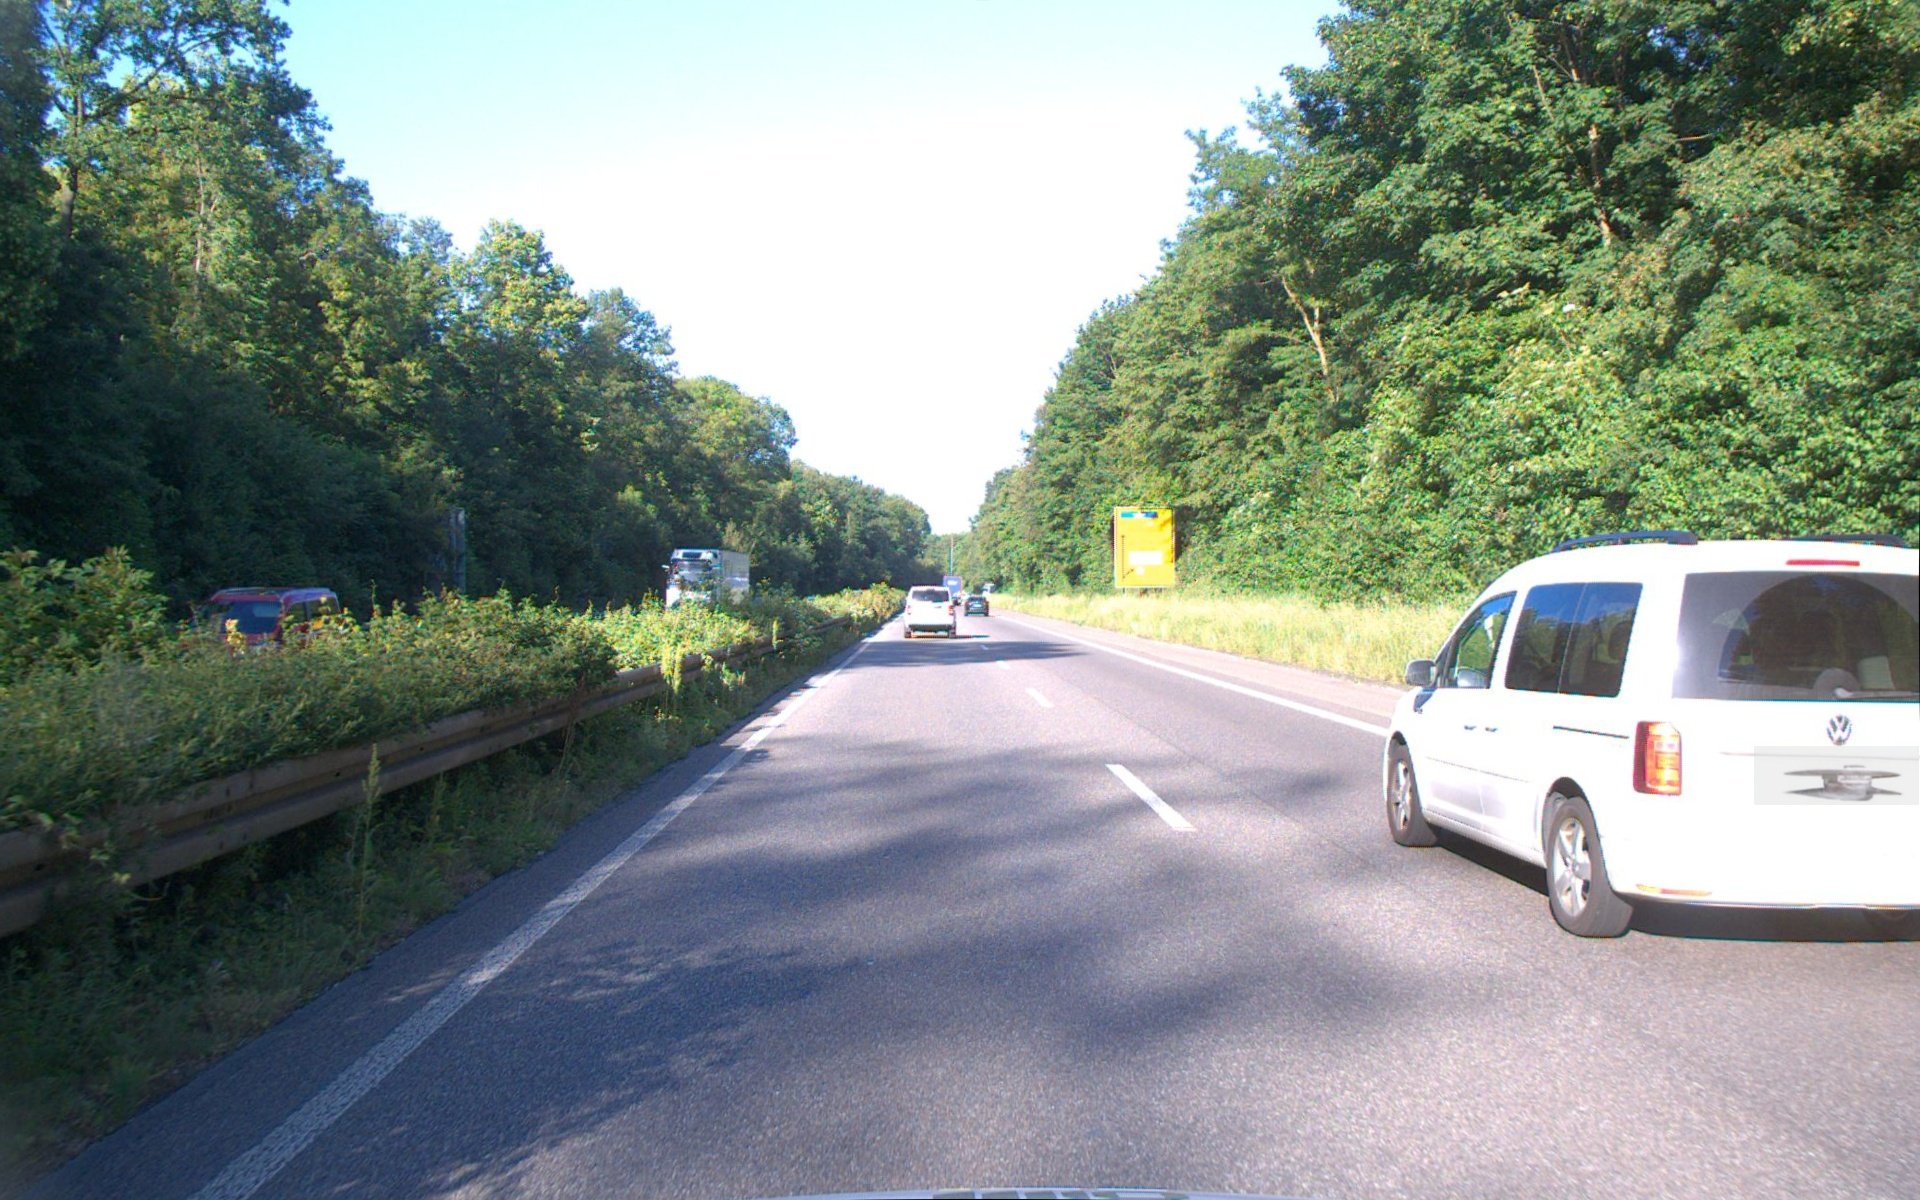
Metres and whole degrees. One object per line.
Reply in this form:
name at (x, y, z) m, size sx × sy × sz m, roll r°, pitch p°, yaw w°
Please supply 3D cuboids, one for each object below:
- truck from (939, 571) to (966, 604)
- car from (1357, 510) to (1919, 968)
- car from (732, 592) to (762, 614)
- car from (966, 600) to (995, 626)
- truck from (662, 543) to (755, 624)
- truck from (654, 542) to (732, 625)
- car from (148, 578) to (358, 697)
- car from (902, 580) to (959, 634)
truck at (-1.109, -1.709, 233.225) m, size 3.658 × 4.419 × 9.302 m, roll 1°, pitch 0°, yaw -1°
car at (3.662, 0.579, 9.021) m, size 1.762 × 1.844 × 4.586 m, roll 1°, pitch 0°, yaw -2°
car at (-15.133, 0.191, 117.628) m, size 1.728 × 1.499 × 3.791 m, roll 1°, pitch 0°, yaw -1°
car at (1.486, 0.939, 121.364) m, size 1.912 × 1.813 × 4.586 m, roll 1°, pitch 0°, yaw -2°
truck at (-13.857, -0.886, 92.453) m, size 3.178 × 4.083 × 14.447 m, roll 1°, pitch 0°, yaw -1°
truck at (-13.721, -0.846, 85.422) m, size 3.163 × 4.083 × 5.675 m, roll 1°, pitch 0°, yaw -1°
car at (-11.987, 0.601, 28.373) m, size 1.682 × 1.842 × 4.525 m, roll 1°, pitch 0°, yaw -1°
car at (-1.073, 0.251, 58.818) m, size 1.912 × 1.813 × 4.586 m, roll 1°, pitch 0°, yaw -2°
